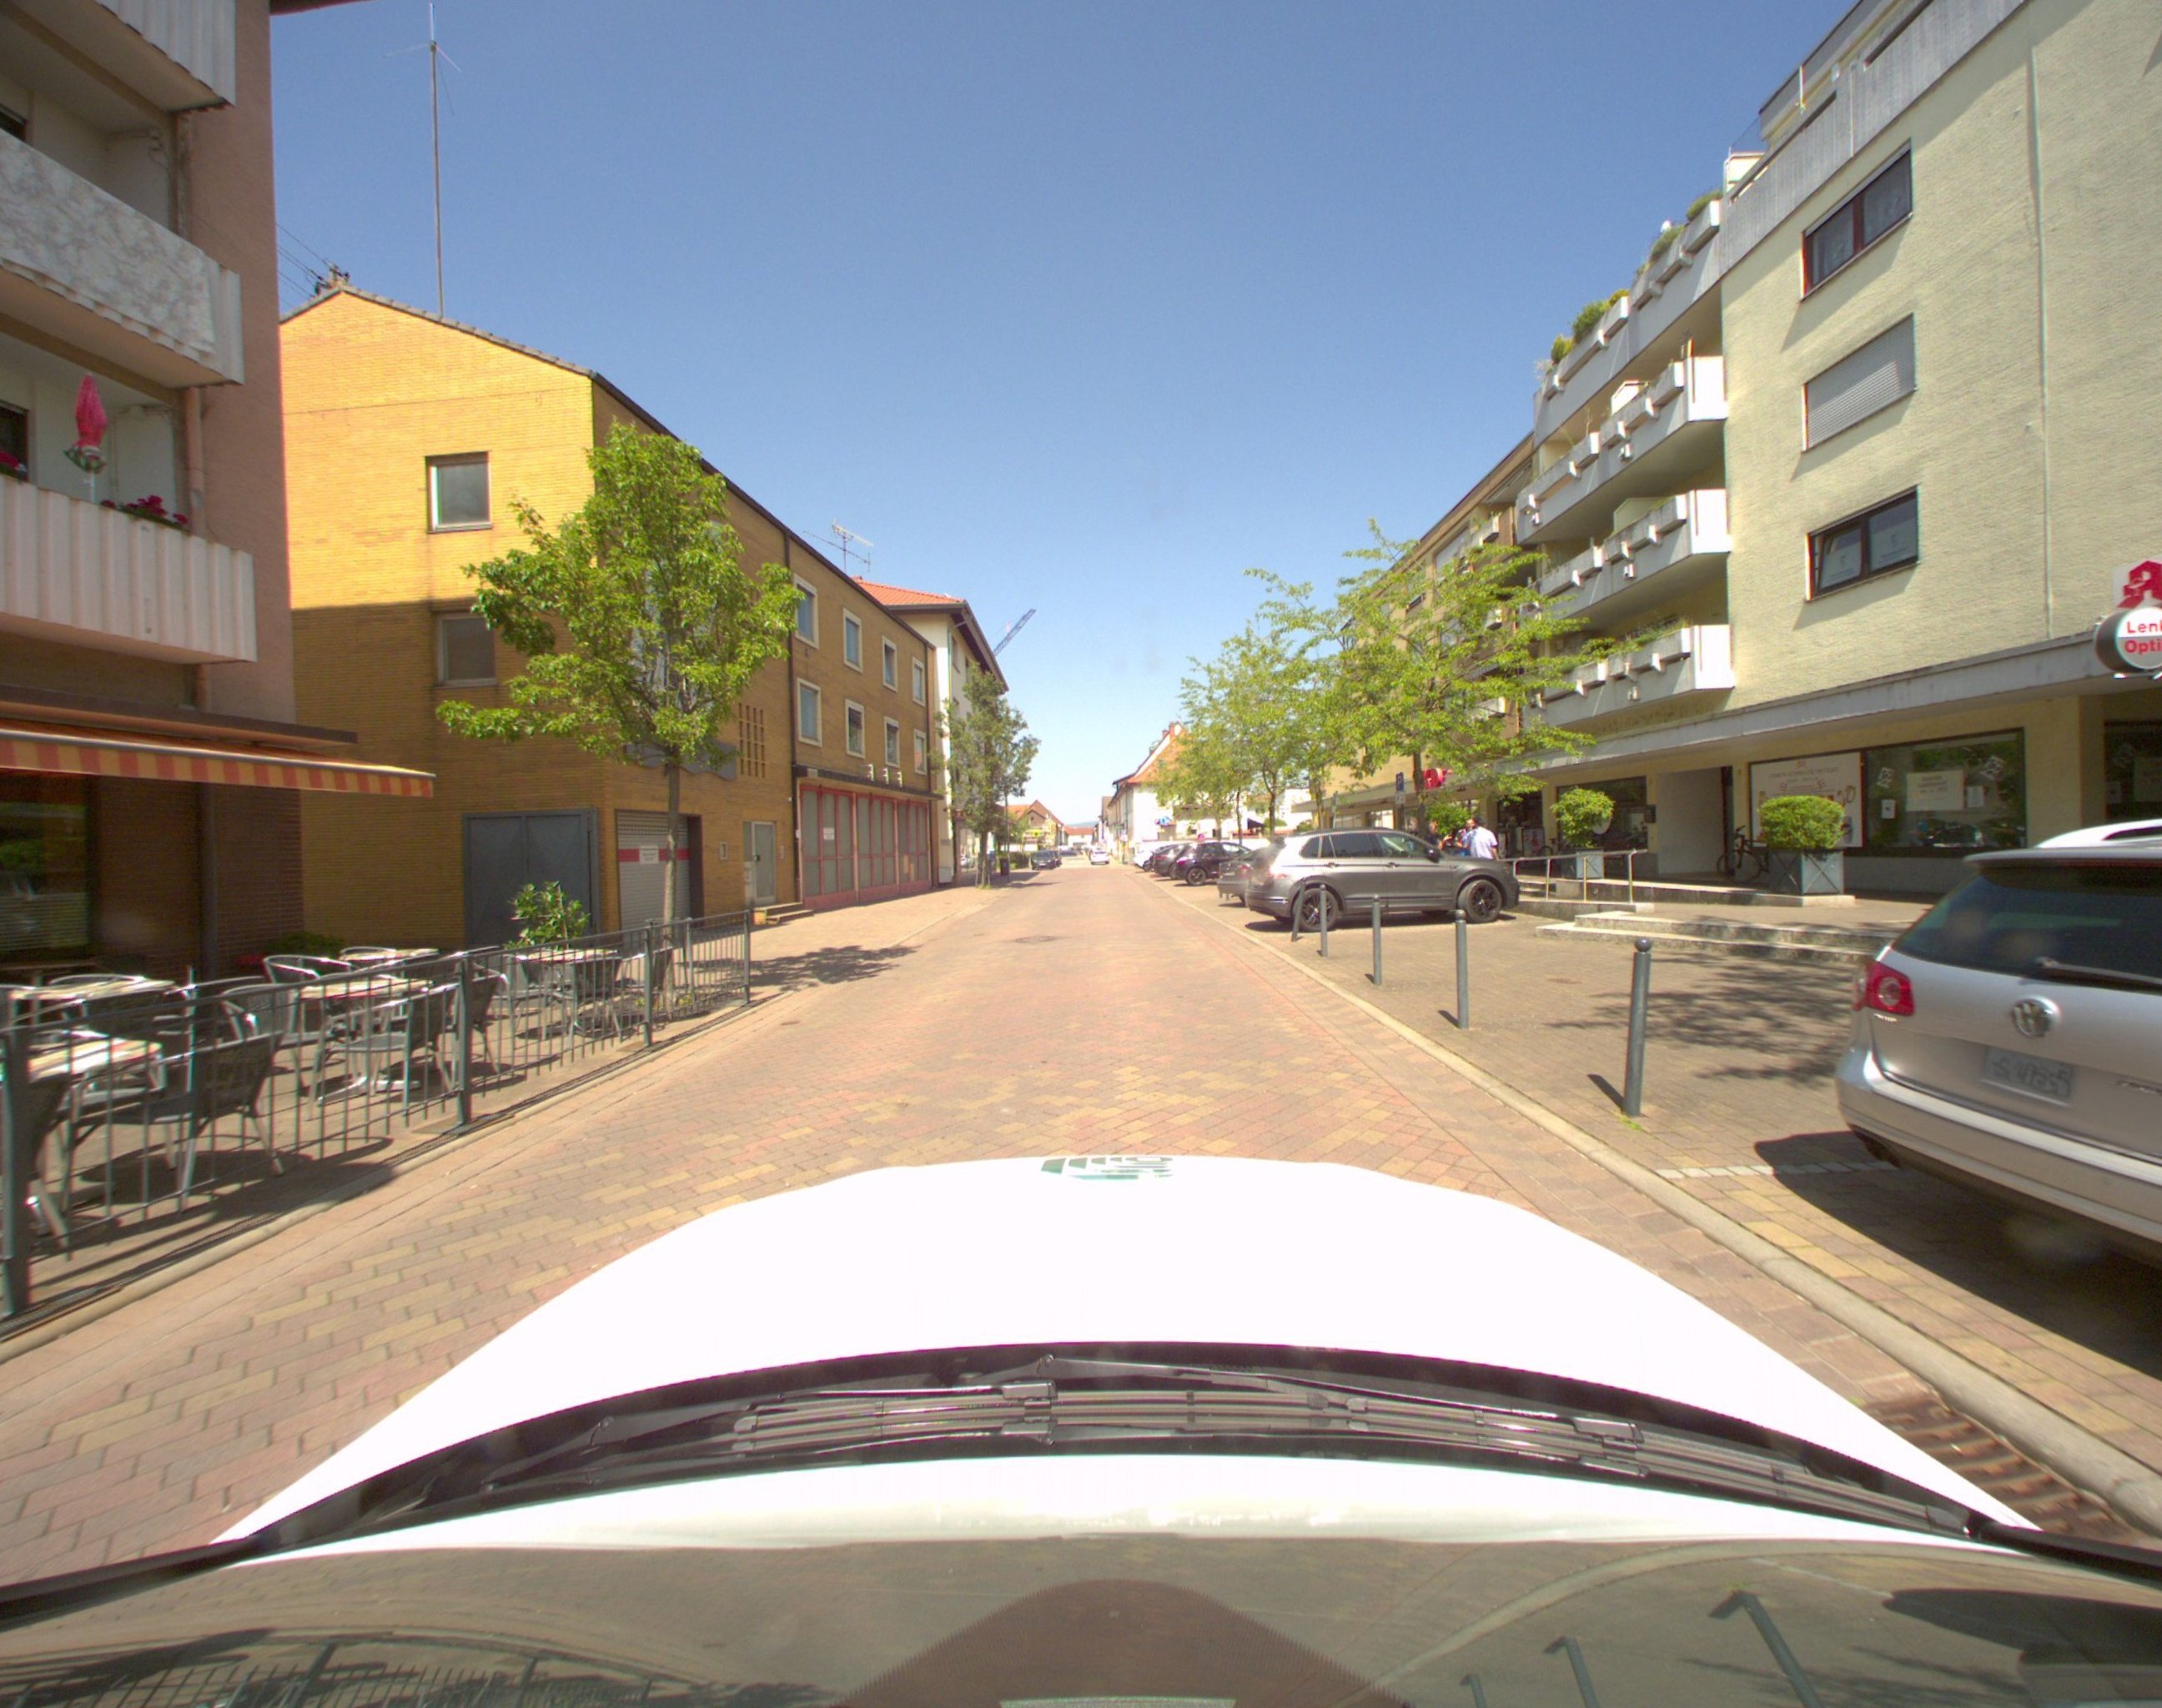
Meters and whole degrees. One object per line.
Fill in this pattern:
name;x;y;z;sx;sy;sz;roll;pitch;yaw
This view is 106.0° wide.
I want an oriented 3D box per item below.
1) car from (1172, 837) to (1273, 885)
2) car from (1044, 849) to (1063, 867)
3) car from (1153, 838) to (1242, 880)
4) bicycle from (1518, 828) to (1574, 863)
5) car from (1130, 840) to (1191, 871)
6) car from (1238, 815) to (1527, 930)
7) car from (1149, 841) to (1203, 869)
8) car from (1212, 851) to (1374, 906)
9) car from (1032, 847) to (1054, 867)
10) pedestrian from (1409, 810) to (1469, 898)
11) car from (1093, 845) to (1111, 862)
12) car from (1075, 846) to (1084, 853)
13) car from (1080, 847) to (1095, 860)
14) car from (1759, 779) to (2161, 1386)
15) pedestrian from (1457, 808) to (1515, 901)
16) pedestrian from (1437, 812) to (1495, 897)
car;5.290;0.265;30.781;3.511;1.655;1.710;-2;0;0
car;-2.627;0.361;78.086;1.502;1.500;3.828;-2;1;1
car;4.883;0.193;34.473;3.511;1.624;1.710;-2;0;0
bicycle;13.119;-0.217;23.022;0.623;0.924;1.728;-2;-1;2
car;4.952;0.103;50.980;3.472;1.700;1.533;-3;0;-5
car;4.937;0.280;13.684;4.231;1.615;1.558;-3;1;-1
car;6.293;0.074;54.044;3.337;1.715;1.470;-2;0;0
car;5.025;0.572;19.525;3.514;1.141;1.272;-2;0;-4
car;-3.053;0.220;66.130;1.502;1.500;3.828;-2;1;1
pedestrian;7.535;-0.006;17.167;0.836;1.786;0.805;-2;1;-5
car;2.174;-0.074;84.934;1.825;1.532;3.947;-2;1;1
car;-0.299;-1.063;184.722;1.740;1.481;3.631;-2;1;2
car;0.852;-0.119;104.601;1.740;1.481;3.631;-2;1;2
car;4.866;0.517;2.453;4.137;1.574;1.760;-2;1;2
pedestrian;8.005;0.005;16.112;0.831;1.786;0.810;-2;1;13
pedestrian;8.384;-0.006;17.757;0.836;1.786;0.805;-2;1;-5
